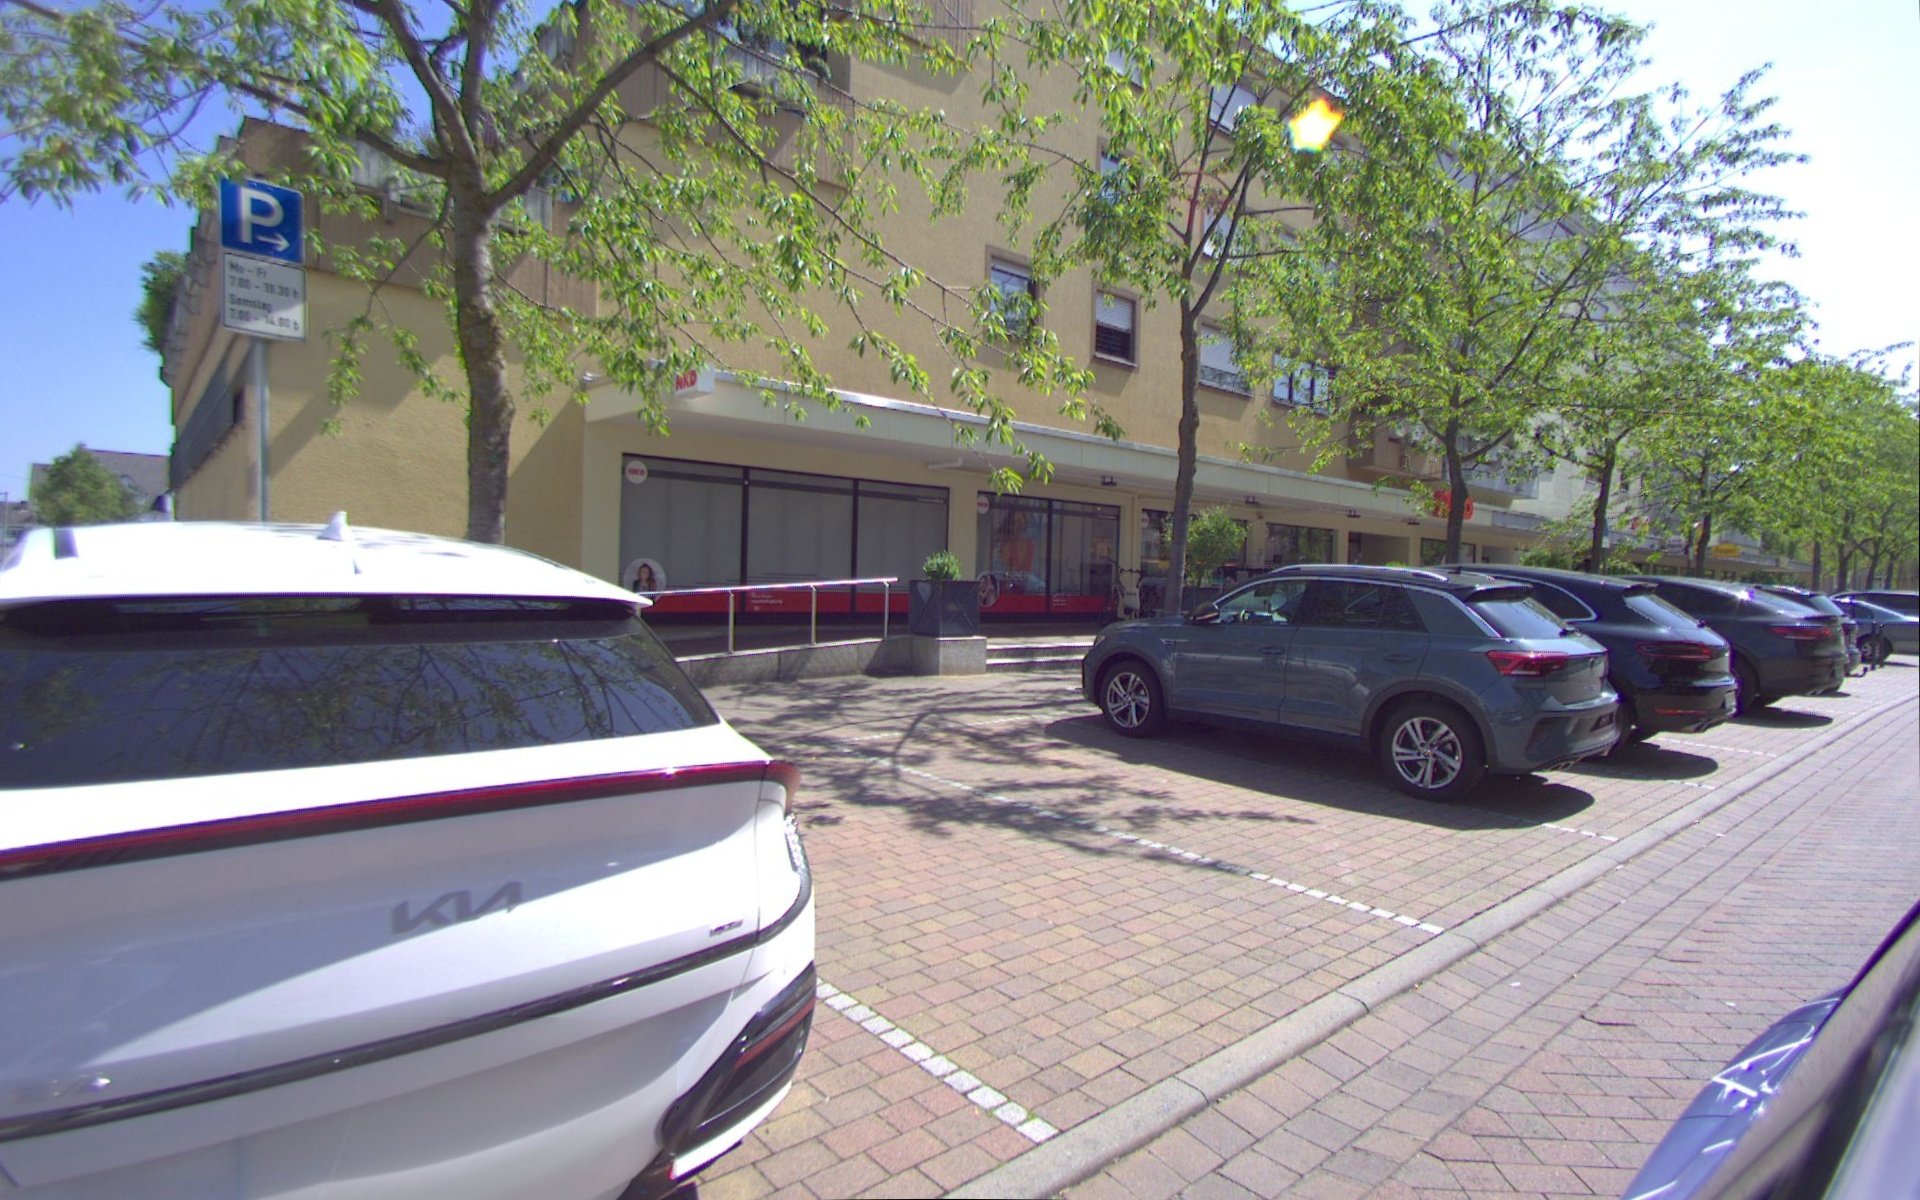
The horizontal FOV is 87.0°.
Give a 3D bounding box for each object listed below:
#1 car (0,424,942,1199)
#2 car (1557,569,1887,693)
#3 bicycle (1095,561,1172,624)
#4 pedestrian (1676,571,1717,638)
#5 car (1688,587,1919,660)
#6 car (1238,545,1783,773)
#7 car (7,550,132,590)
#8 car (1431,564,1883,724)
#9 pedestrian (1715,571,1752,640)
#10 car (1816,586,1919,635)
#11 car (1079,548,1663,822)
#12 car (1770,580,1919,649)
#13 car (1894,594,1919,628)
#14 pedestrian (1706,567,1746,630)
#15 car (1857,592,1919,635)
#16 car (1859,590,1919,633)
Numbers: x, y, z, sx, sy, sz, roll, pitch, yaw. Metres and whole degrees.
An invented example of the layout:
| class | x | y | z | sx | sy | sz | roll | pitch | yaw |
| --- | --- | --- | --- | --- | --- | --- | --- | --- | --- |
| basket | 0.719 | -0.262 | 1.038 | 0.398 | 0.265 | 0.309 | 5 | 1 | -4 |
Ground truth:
| class | x | y | z | sx | sy | sz | roll | pitch | yaw |
| --- | --- | --- | --- | --- | --- | --- | --- | --- | --- |
| car | -2.132 | 0.460 | 3.240 | 1.756 | 1.595 | 4.453 | 1 | 3 | -39 |
| car | 12.379 | 0.401 | 16.653 | 1.652 | 1.631 | 4.034 | 0 | 4 | -42 |
| bicycle | 3.299 | -0.145 | 19.126 | 1.743 | 1.138 | 0.413 | -1 | 1 | -40 |
| pedestrian | 20.056 | 0.114 | 27.573 | 0.621 | 1.795 | 0.685 | 1 | 0 | 11 |
| car | 20.111 | 0.505 | 23.997 | 4.348 | 1.481 | 1.872 | 2 | 2 | 29 |
| car | 5.186 | 0.365 | 9.989 | 1.967 | 1.701 | 4.285 | 0 | 3 | -43 |
| car | -37.144 | -1.224 | 42.265 | 3.871 | 1.596 | 1.654 | 0 | 2 | -44 |
| car | 8.893 | 0.424 | 13.305 | 1.817 | 1.608 | 4.521 | 1 | 3 | -39 |
| pedestrian | 20.870 | 0.143 | 27.304 | 0.599 | 1.818 | 0.623 | 1 | 0 | 21 |
| car | 33.099 | 0.388 | 35.365 | 1.775 | 1.562 | 4.585 | 0 | 3 | -40 |
| car | 3.066 | 0.437 | 8.191 | 1.792 | 1.552 | 3.952 | 0 | 4 | -42 |
| car | 24.977 | 0.391 | 27.599 | 1.727 | 1.637 | 4.251 | 1 | 3 | -42 |
| car | 42.555 | 0.539 | 43.438 | 1.434 | 1.407 | 3.401 | 0 | 3 | -40 |
| pedestrian | 21.461 | -0.040 | 28.370 | 0.635 | 1.752 | 0.617 | 0 | 0 | -7 |
| car | 35.245 | 0.551 | 36.708 | 1.585 | 1.448 | 3.800 | 0 | 3 | -40 |
| car | 36.915 | 0.471 | 38.626 | 1.604 | 1.535 | 3.652 | 0 | 3 | -40 |
